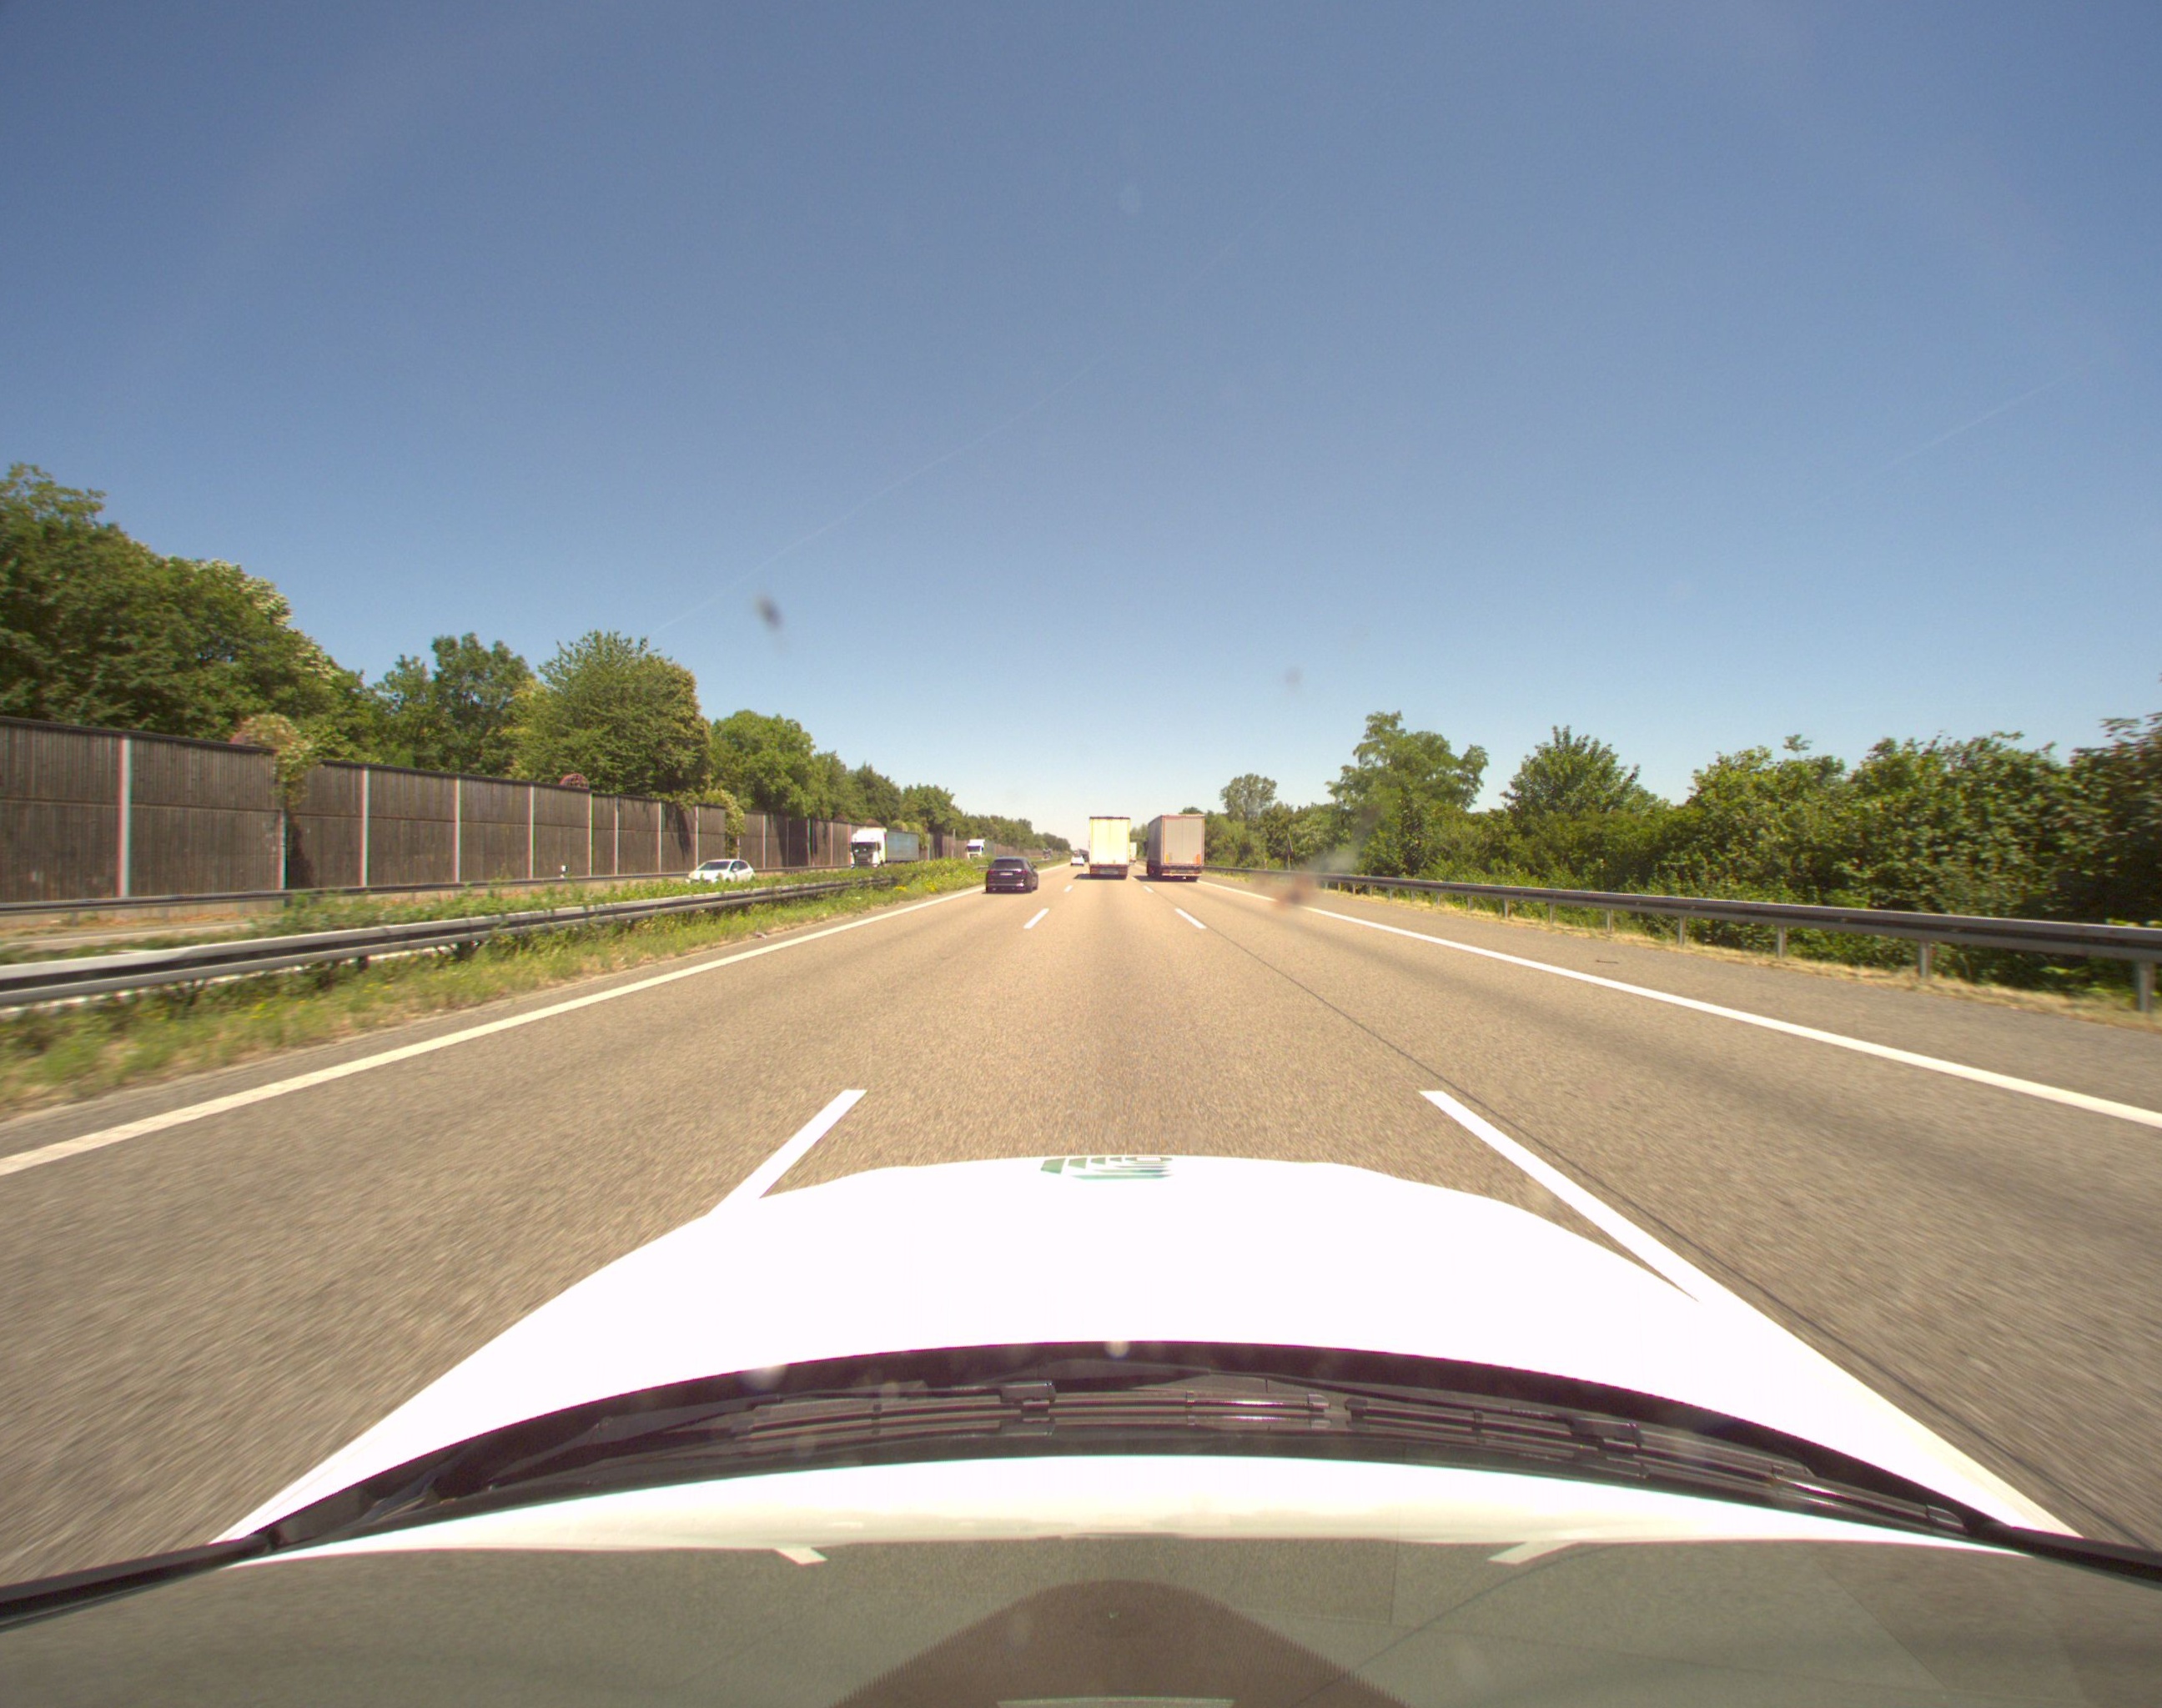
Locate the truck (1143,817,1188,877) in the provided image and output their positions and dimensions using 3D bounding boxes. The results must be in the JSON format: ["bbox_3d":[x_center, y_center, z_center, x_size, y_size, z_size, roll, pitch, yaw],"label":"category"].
[{"bbox_3d":[6.205,-0.476,61.150,2.682,4.215,7.839,0,0,1],"label":"truck"}]

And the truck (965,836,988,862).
[{"bbox_3d":[-17.503,-0.755,136.856,2.823,4.183,7.143,0,0,1],"label":"truck"}]

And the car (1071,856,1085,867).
[{"bbox_3d":[-0.402,0.986,112.554,1.849,1.486,4.000,-1,0,1],"label":"car"}]

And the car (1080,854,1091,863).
[{"bbox_3d":[0.801,0.763,149.633,1.850,1.617,3.997,-1,0,-2],"label":"car"}]

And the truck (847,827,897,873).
[{"bbox_3d":[-19.061,-0.314,74.685,2.748,4.022,6.735,0,0,1],"label":"truck"}]

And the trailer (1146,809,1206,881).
[{"bbox_3d":[6.078,-0.486,54.216,2.694,4.216,13.213,0,0,1],"label":"trailer"}]

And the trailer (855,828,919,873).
[{"bbox_3d":[-18.946,-0.293,80.789,2.725,4.022,14.307,0,0,1],"label":"trailer"}]

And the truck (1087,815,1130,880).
[{"bbox_3d":[1.866,-0.403,57.880,2.697,4.085,13.475,0,0,1],"label":"truck"}]

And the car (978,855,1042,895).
[{"bbox_3d":[-2.905,0.823,34.619,1.936,1.506,5.824,-1,0,2],"label":"car"}]

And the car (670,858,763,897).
[{"bbox_3d":[-16.069,0.977,36.224,1.986,1.590,4.494,-1,0,2],"label":"car"}]

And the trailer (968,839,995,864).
[{"bbox_3d":[-17.362,-0.350,143.058,2.899,4.183,13.313,0,0,1],"label":"trailer"}]

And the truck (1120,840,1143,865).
[{"bbox_3d":[8.956,-0.268,145.628,3.362,4.303,11.451,2,0,1],"label":"truck"}]
